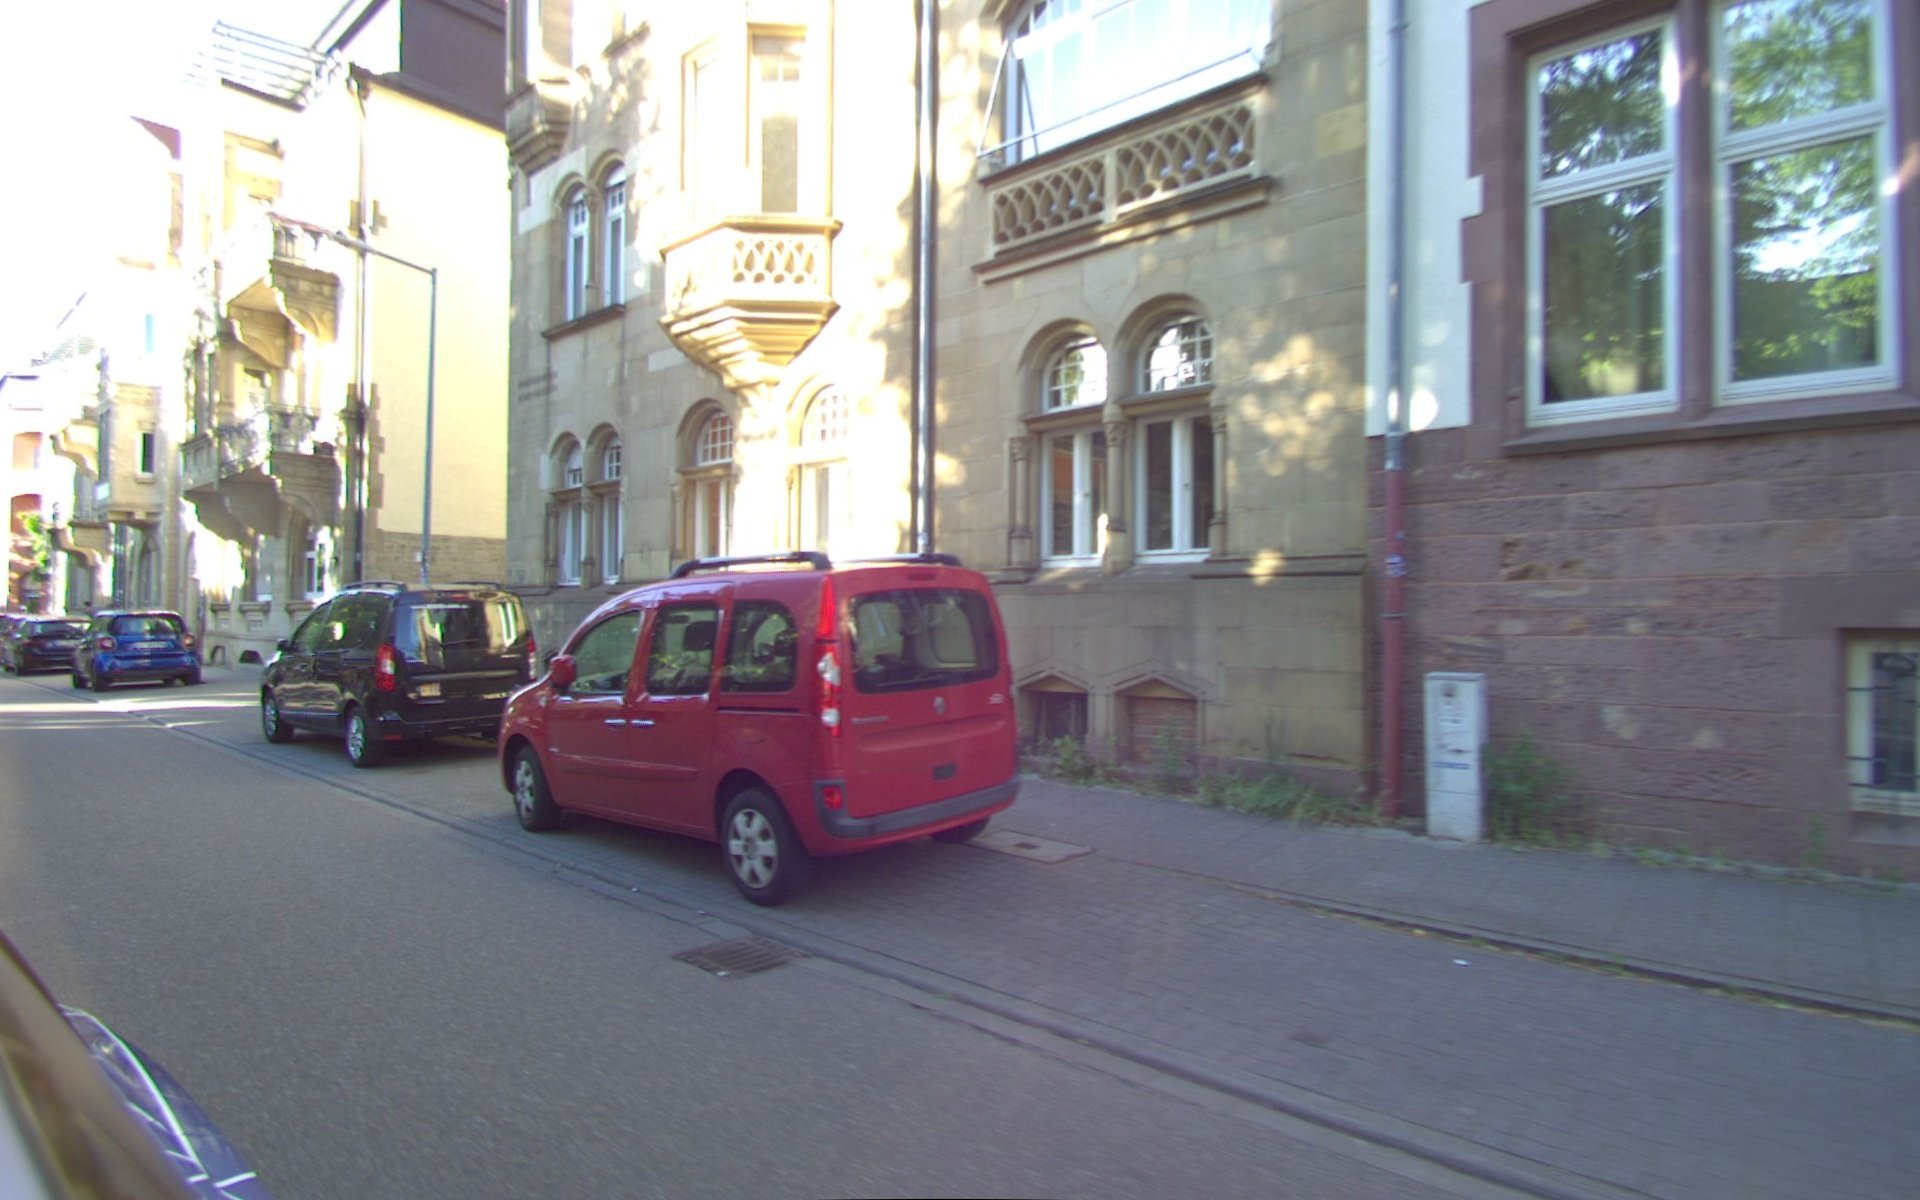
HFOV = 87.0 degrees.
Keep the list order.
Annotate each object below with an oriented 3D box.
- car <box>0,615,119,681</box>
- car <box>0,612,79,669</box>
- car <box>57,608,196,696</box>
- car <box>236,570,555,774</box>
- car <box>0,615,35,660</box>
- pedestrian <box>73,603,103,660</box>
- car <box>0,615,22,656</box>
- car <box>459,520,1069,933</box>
[{"bbox_3d":[-23.259,1.151,25.930,4.539,1.449,1.881,-1,2,41],"label":"car"},{"bbox_3d":[-27.603,1.160,29.925,3.770,1.477,1.673,-1,2,39],"label":"car"},{"bbox_3d":[-16.510,0.970,20.023,2.860,1.520,1.666,-1,2,41],"label":"car"},{"bbox_3d":[-6.493,0.690,11.402,4.540,1.866,1.751,-1,-1,42],"label":"car"},{"bbox_3d":[-32.992,1.265,34.531,3.997,1.477,1.724,-1,0,42],"label":"car"},{"bbox_3d":[-28.638,1.028,33.229,0.497,1.861,0.685,-1,0,43],"label":"pedestrian"},{"bbox_3d":[-37.451,1.380,38.561,4.506,1.468,1.870,-1,2,39],"label":"car"},{"bbox_3d":[-1.554,0.604,6.819,4.323,1.921,1.779,-1,0,42],"label":"car"}]
